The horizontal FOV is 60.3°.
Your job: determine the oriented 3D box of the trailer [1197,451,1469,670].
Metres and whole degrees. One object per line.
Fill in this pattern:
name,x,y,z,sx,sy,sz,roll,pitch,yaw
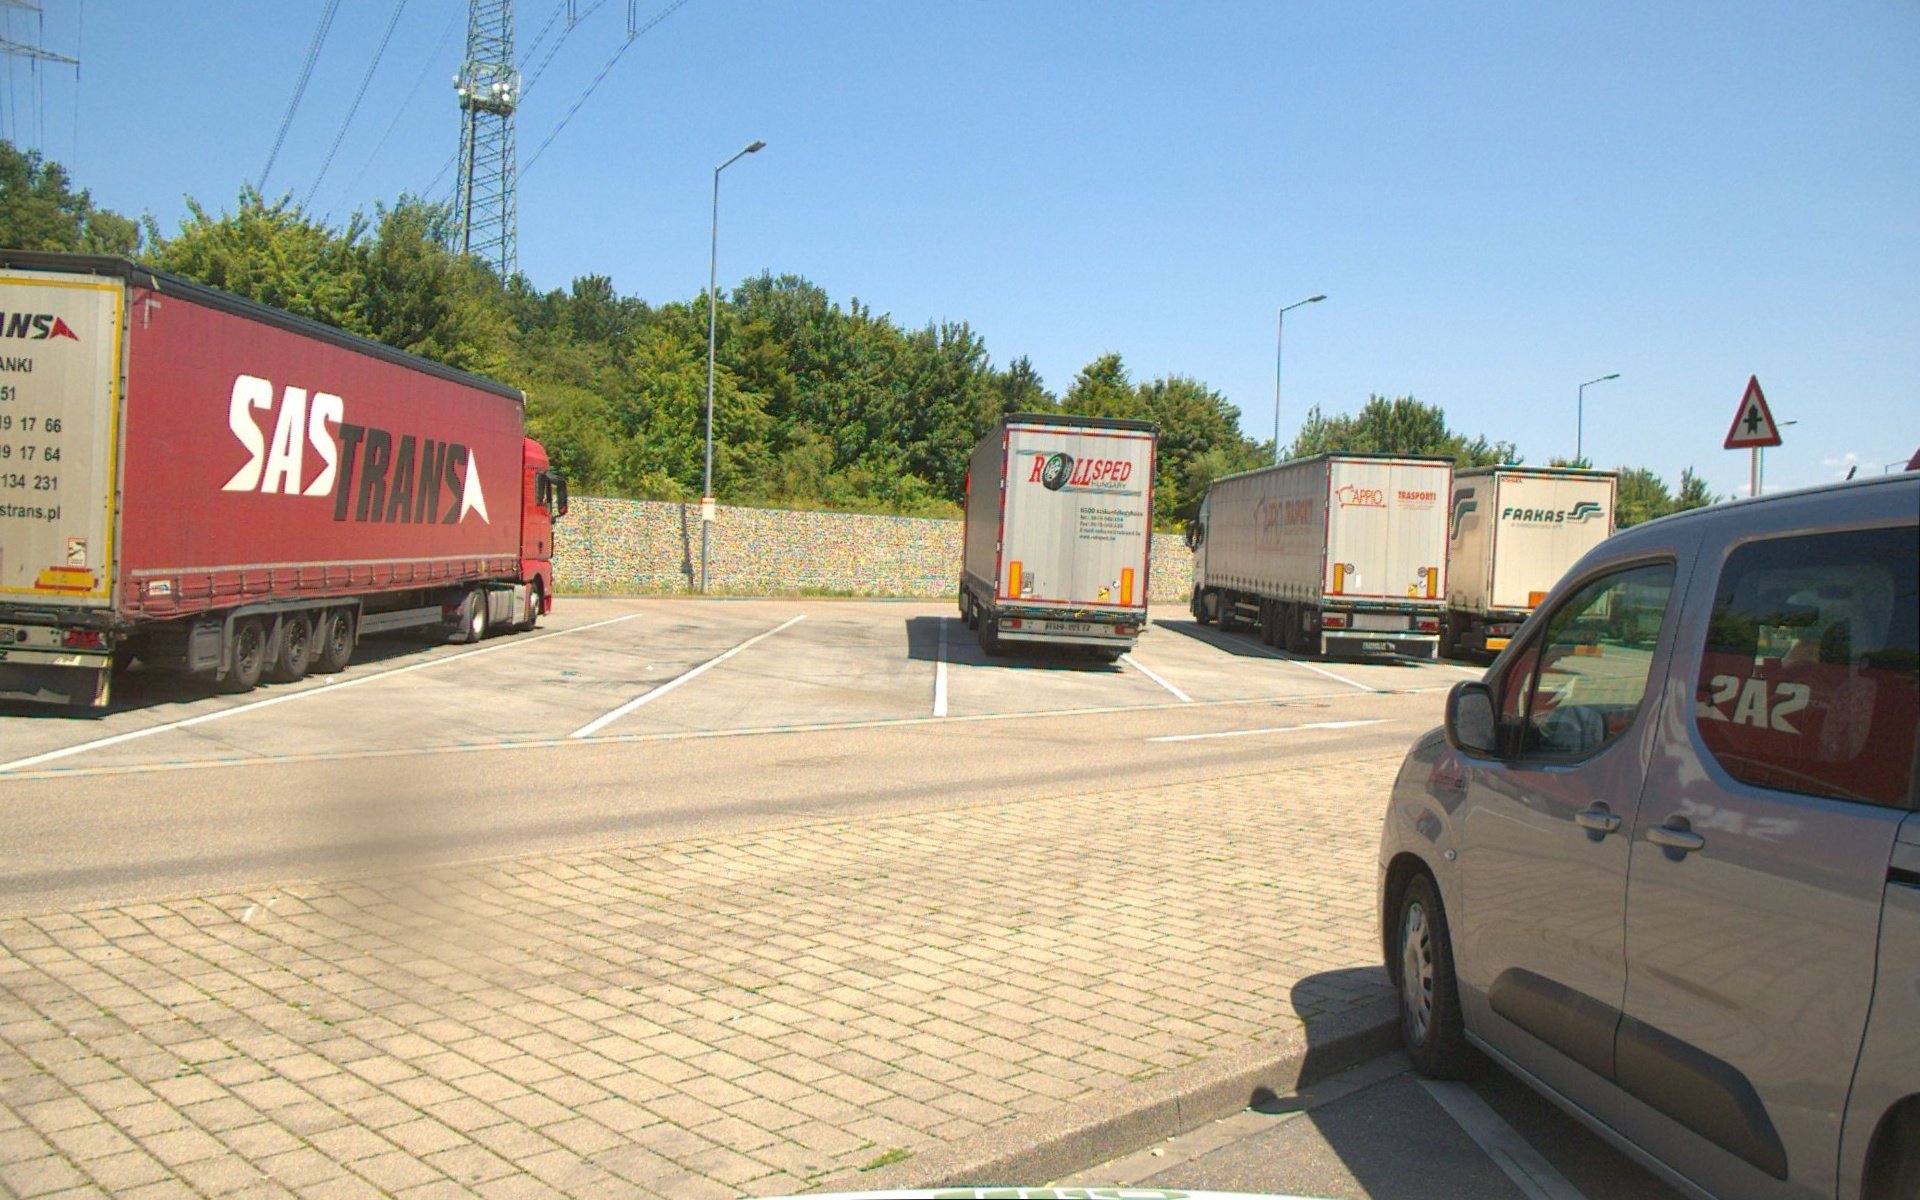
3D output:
trailer,8.171,-1.037,38.856,2.754,4.058,14.395,3,2,-1

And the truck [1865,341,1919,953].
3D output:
truck,5.000,0.197,4.985,1.937,2.668,5.307,1,0,4

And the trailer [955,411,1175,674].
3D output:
trailer,1.658,-1.201,33.647,3.070,4.058,14.393,3,2,-1

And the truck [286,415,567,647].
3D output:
truck,-8.791,-1.158,28.011,2.793,3.385,5.900,3,2,-1

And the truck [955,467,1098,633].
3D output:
truck,1.501,-1.248,40.537,3.041,3.628,5.900,3,2,-1

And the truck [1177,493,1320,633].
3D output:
truck,8.053,-1.102,46.955,2.804,3.582,5.900,3,2,-1

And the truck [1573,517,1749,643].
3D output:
truck,21.766,-0.704,51.741,2.746,3.582,5.900,3,2,-1

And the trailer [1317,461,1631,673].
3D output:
trailer,11.733,-0.943,39.960,2.754,4.058,14.395,3,2,-1

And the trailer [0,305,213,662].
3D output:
trailer,-12.553,-1.342,17.718,2.739,4.155,14.131,3,2,-1

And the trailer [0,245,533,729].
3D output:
trailer,-8.726,-1.297,21.441,2.735,4.155,14.131,3,2,-1

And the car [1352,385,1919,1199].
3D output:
car,2.439,0.600,3.861,1.832,1.896,4.174,3,1,-2

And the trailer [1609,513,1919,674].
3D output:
trailer,21.843,-0.398,44.511,2.754,3.568,14.395,3,2,-1
